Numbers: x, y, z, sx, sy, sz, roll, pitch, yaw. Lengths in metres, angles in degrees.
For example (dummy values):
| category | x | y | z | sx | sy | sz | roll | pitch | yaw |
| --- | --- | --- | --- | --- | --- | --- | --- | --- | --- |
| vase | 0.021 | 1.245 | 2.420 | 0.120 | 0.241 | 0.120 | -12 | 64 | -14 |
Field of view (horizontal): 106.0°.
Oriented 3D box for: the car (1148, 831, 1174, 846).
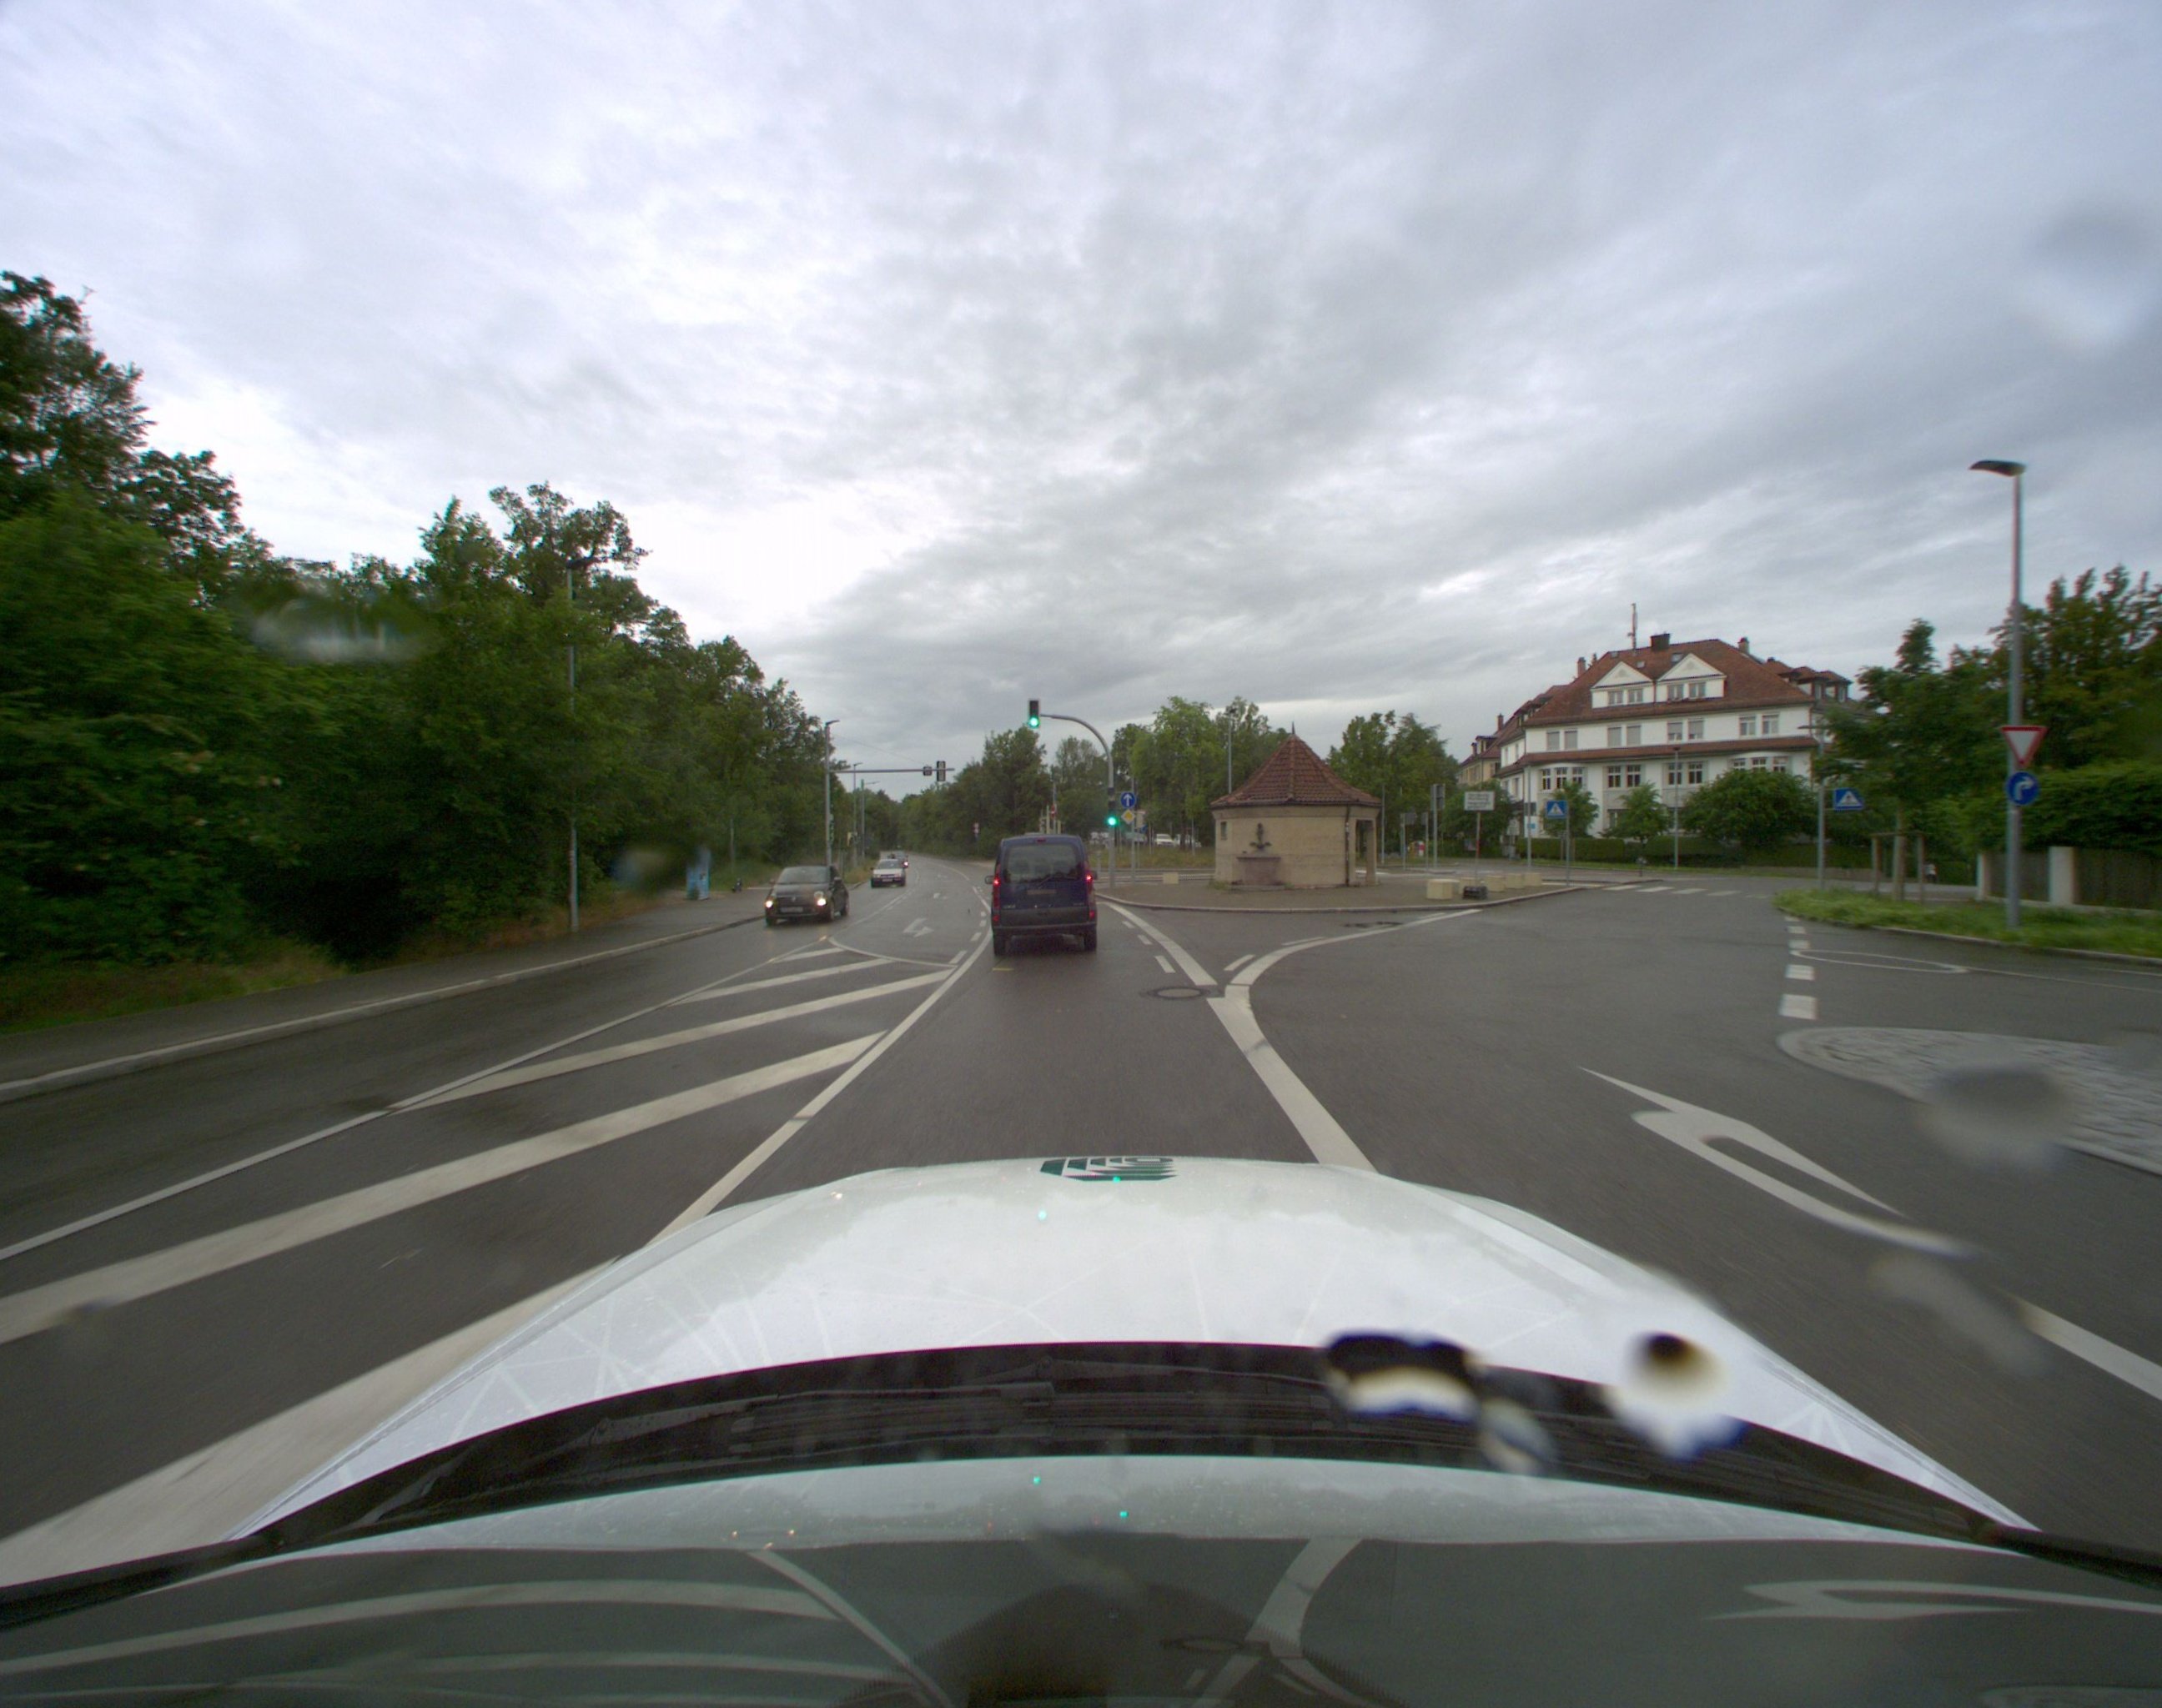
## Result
| category | x | y | z | sx | sy | sz | roll | pitch | yaw |
| --- | --- | --- | --- | --- | --- | --- | --- | --- | --- |
| car | 8.204 | -1.591 | 83.896 | 1.883 | 1.480 | 4.060 | 1 | 0 | -6 |

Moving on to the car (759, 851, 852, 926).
| category | x | y | z | sx | sy | sz | roll | pitch | yaw |
| --- | --- | --- | --- | --- | --- | --- | --- | --- | --- |
| car | -7.172 | 0.814 | 21.550 | 1.575 | 1.730 | 3.764 | -2 | 1 | -8 |

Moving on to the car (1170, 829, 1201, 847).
| category | x | y | z | sx | sy | sz | roll | pitch | yaw |
| --- | --- | --- | --- | --- | --- | --- | --- | --- | --- |
| car | 9.416 | -1.428 | 73.370 | 1.883 | 1.480 | 4.060 | 1 | 0 | -6 |

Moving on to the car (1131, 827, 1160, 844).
| category | x | y | z | sx | sy | sz | roll | pitch | yaw |
| --- | --- | --- | --- | --- | --- | --- | --- | --- | --- |
| car | 6.357 | -1.825 | 80.836 | 1.992 | 1.662 | 4.462 | 1 | 1 | -7 |

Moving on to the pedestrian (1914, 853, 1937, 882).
| category | x | y | z | sx | sy | sz | roll | pitch | yaw |
| --- | --- | --- | --- | --- | --- | --- | --- | --- | --- |
| pedestrian | 54.886 | 0.878 | 52.946 | 0.694 | 1.837 | 0.817 | 1 | 0 | -17 |

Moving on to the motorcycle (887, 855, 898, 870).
| category | x | y | z | sx | sy | sz | roll | pitch | yaw |
| --- | --- | --- | --- | --- | --- | --- | --- | --- | --- |
| motorcycle | -13.716 | 0.605 | 59.316 | 0.594 | 1.050 | 1.993 | -2 | 1 | -8 |

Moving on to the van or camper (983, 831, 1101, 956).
| category | x | y | z | sx | sy | sz | roll | pitch | yaw |
| --- | --- | --- | --- | --- | --- | --- | --- | --- | --- |
| van or camper | -0.699 | 0.553 | 13.951 | 1.709 | 1.825 | 3.995 | 0 | 1 | -4 |

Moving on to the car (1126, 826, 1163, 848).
| category | x | y | z | sx | sy | sz | roll | pitch | yaw |
| --- | --- | --- | --- | --- | --- | --- | --- | --- | --- |
| car | 5.160 | -1.392 | 66.947 | 1.995 | 1.662 | 3.985 | 1 | 1 | -12 |

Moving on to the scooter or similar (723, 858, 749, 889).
| category | x | y | z | sx | sy | sz | roll | pitch | yaw |
| --- | --- | --- | --- | --- | --- | --- | --- | --- | --- |
| scooter or similar | -14.160 | 0.779 | 33.434 | 0.516 | 1.212 | 1.467 | -1 | 1 | -4 |

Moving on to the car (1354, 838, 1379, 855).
| category | x | y | z | sx | sy | sz | roll | pitch | yaw |
| --- | --- | --- | --- | --- | --- | --- | --- | --- | --- |
| car | 34.660 | -0.864 | 98.937 | 1.983 | 2.013 | 4.007 | 0 | 1 | 6 |

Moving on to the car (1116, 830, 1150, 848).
| category | x | y | z | sx | sy | sz | roll | pitch | yaw |
| --- | --- | --- | --- | --- | --- | --- | --- | --- | --- |
| car | 4.599 | -1.304 | 72.185 | 1.994 | 1.480 | 4.268 | 1 | 0 | -11 |

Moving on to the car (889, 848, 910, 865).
| category | x | y | z | sx | sy | sz | roll | pitch | yaw |
| --- | --- | --- | --- | --- | --- | --- | --- | --- | --- |
| car | -17.506 | 0.207 | 78.612 | 1.790 | 1.581 | 4.545 | -2 | 1 | -11 |

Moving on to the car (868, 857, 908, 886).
| category | x | y | z | sx | sy | sz | roll | pitch | yaw |
| --- | --- | --- | --- | --- | --- | --- | --- | --- | --- |
| car | -10.271 | 0.907 | 43.582 | 1.740 | 1.352 | 4.196 | -2 | 1 | -9 |

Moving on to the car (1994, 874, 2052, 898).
| category | x | y | z | sx | sy | sz | roll | pitch | yaw |
| --- | --- | --- | --- | --- | --- | --- | --- | --- | --- |
| car | 63.807 | 2.127 | 55.151 | 4.013 | 1.480 | 1.980 | 1 | 0 | -32 |

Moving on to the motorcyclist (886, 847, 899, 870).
| category | x | y | z | sx | sy | sz | roll | pitch | yaw |
| --- | --- | --- | --- | --- | --- | --- | --- | --- | --- |
| motorcyclist | -13.706 | 0.294 | 59.249 | 0.745 | 1.632 | 0.924 | -2 | 1 | -8 |
